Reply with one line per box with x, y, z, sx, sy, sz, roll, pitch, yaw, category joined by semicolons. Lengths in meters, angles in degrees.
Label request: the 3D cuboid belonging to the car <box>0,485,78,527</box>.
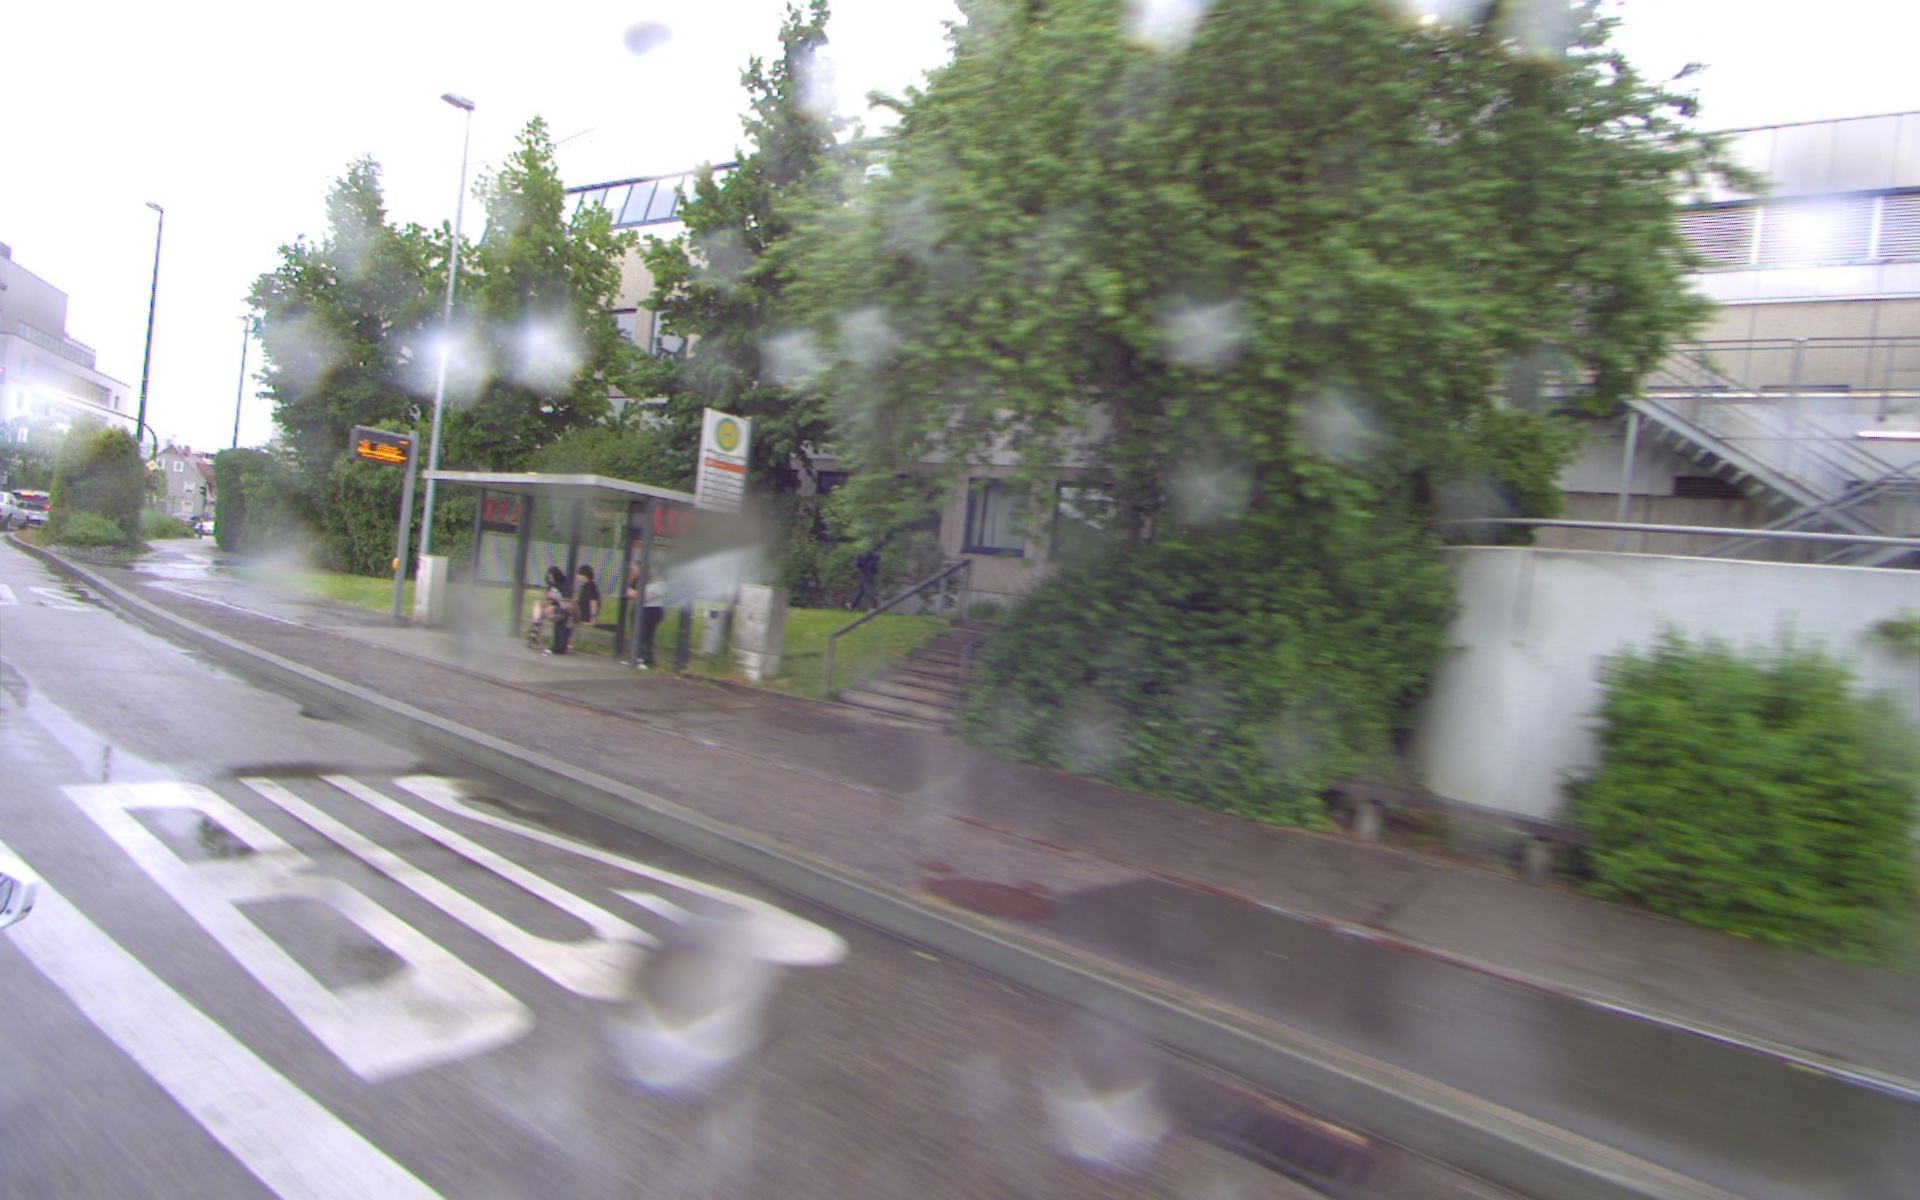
-38.893;-3.942;42.499;1.899;1.418;3.426;7;0;-33;car

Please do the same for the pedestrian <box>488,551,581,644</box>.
-6.455;-0.026;15.284;0.681;1.298;1.029;7;3;33;pedestrian

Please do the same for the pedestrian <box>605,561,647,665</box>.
-4.662;0.172;14.067;0.405;1.384;0.541;5;3;-13;pedestrian

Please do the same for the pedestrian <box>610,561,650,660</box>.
-4.772;0.144;14.576;0.405;1.384;0.541;5;3;-14;pedestrian

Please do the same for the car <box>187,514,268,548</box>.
-52.331;-4.896;71.968;1.855;1.702;4.509;7;-1;11;car

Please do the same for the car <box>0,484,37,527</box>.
-35.536;-3.545;36.898;1.623;1.465;4.231;8;-1;-33;car

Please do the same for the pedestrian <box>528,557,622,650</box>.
-5.750;0.062;15.037;0.681;1.298;1.029;7;3;33;pedestrian

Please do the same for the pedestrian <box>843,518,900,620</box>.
-1.666;-0.581;18.902;0.662;1.819;0.673;4;-1;30;pedestrian
